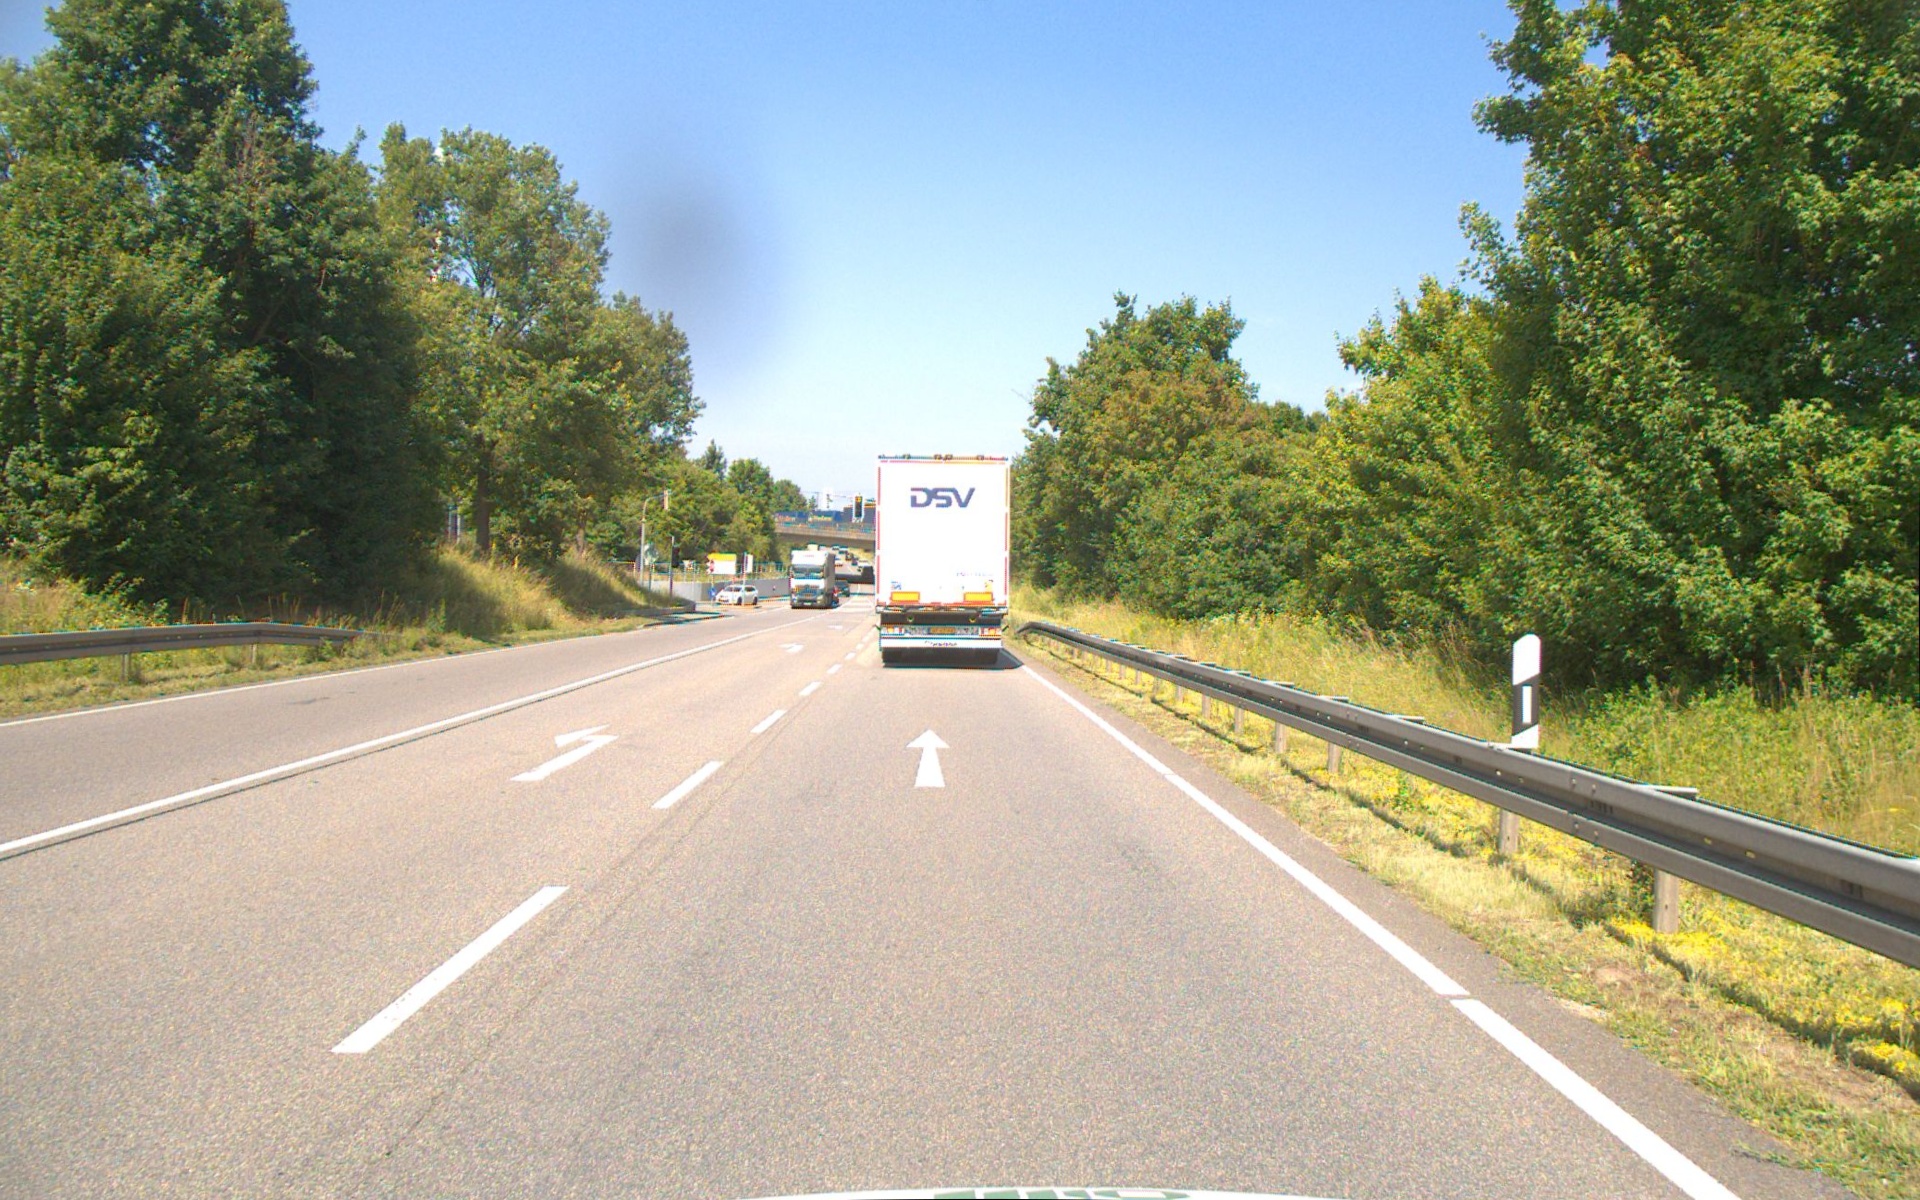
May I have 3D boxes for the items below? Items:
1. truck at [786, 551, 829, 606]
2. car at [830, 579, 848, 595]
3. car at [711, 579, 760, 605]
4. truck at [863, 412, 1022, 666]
[{"bbox_3d":[-11.110,-1.577,121.370,2.306,3.815,12.621,1,1,-2],"label":"truck"},{"bbox_3d":[-12.468,-1.347,170.174,1.712,1.654,3.702,1,1,-2],"label":"car"},{"bbox_3d":[-16.838,-0.587,124.322,1.764,1.904,4.420,1,1,20],"label":"car"},{"bbox_3d":[-0.528,-1.151,35.503,2.891,4.648,9.858,1,0,-2],"label":"truck"}]
